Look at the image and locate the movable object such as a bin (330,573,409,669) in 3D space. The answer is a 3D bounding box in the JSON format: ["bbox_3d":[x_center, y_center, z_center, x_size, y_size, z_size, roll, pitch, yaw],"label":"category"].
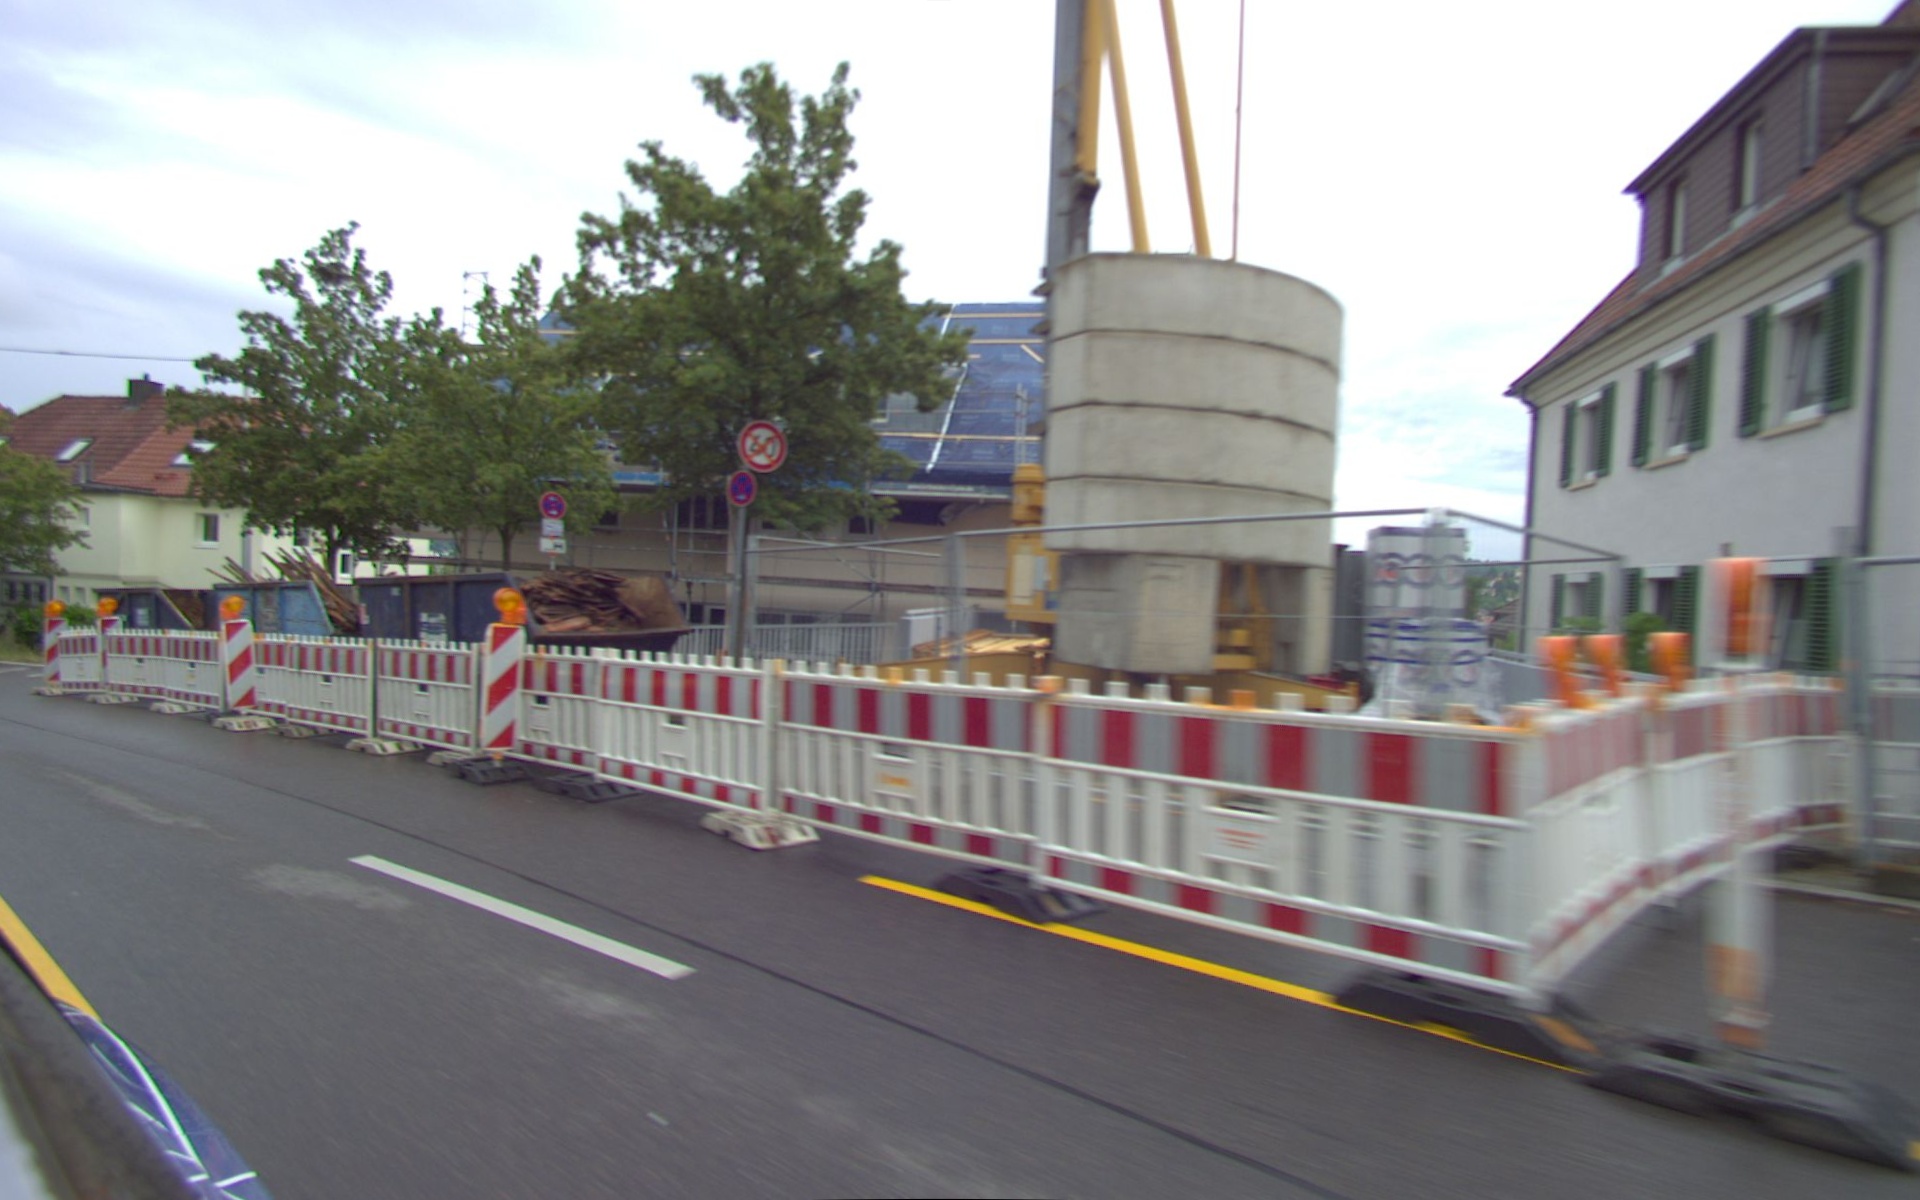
[{"bbox_3d":[-16.152,0.562,27.701,1.375,2.524,1.309,-1,0,18],"label":"movable object such as a bin"}]
